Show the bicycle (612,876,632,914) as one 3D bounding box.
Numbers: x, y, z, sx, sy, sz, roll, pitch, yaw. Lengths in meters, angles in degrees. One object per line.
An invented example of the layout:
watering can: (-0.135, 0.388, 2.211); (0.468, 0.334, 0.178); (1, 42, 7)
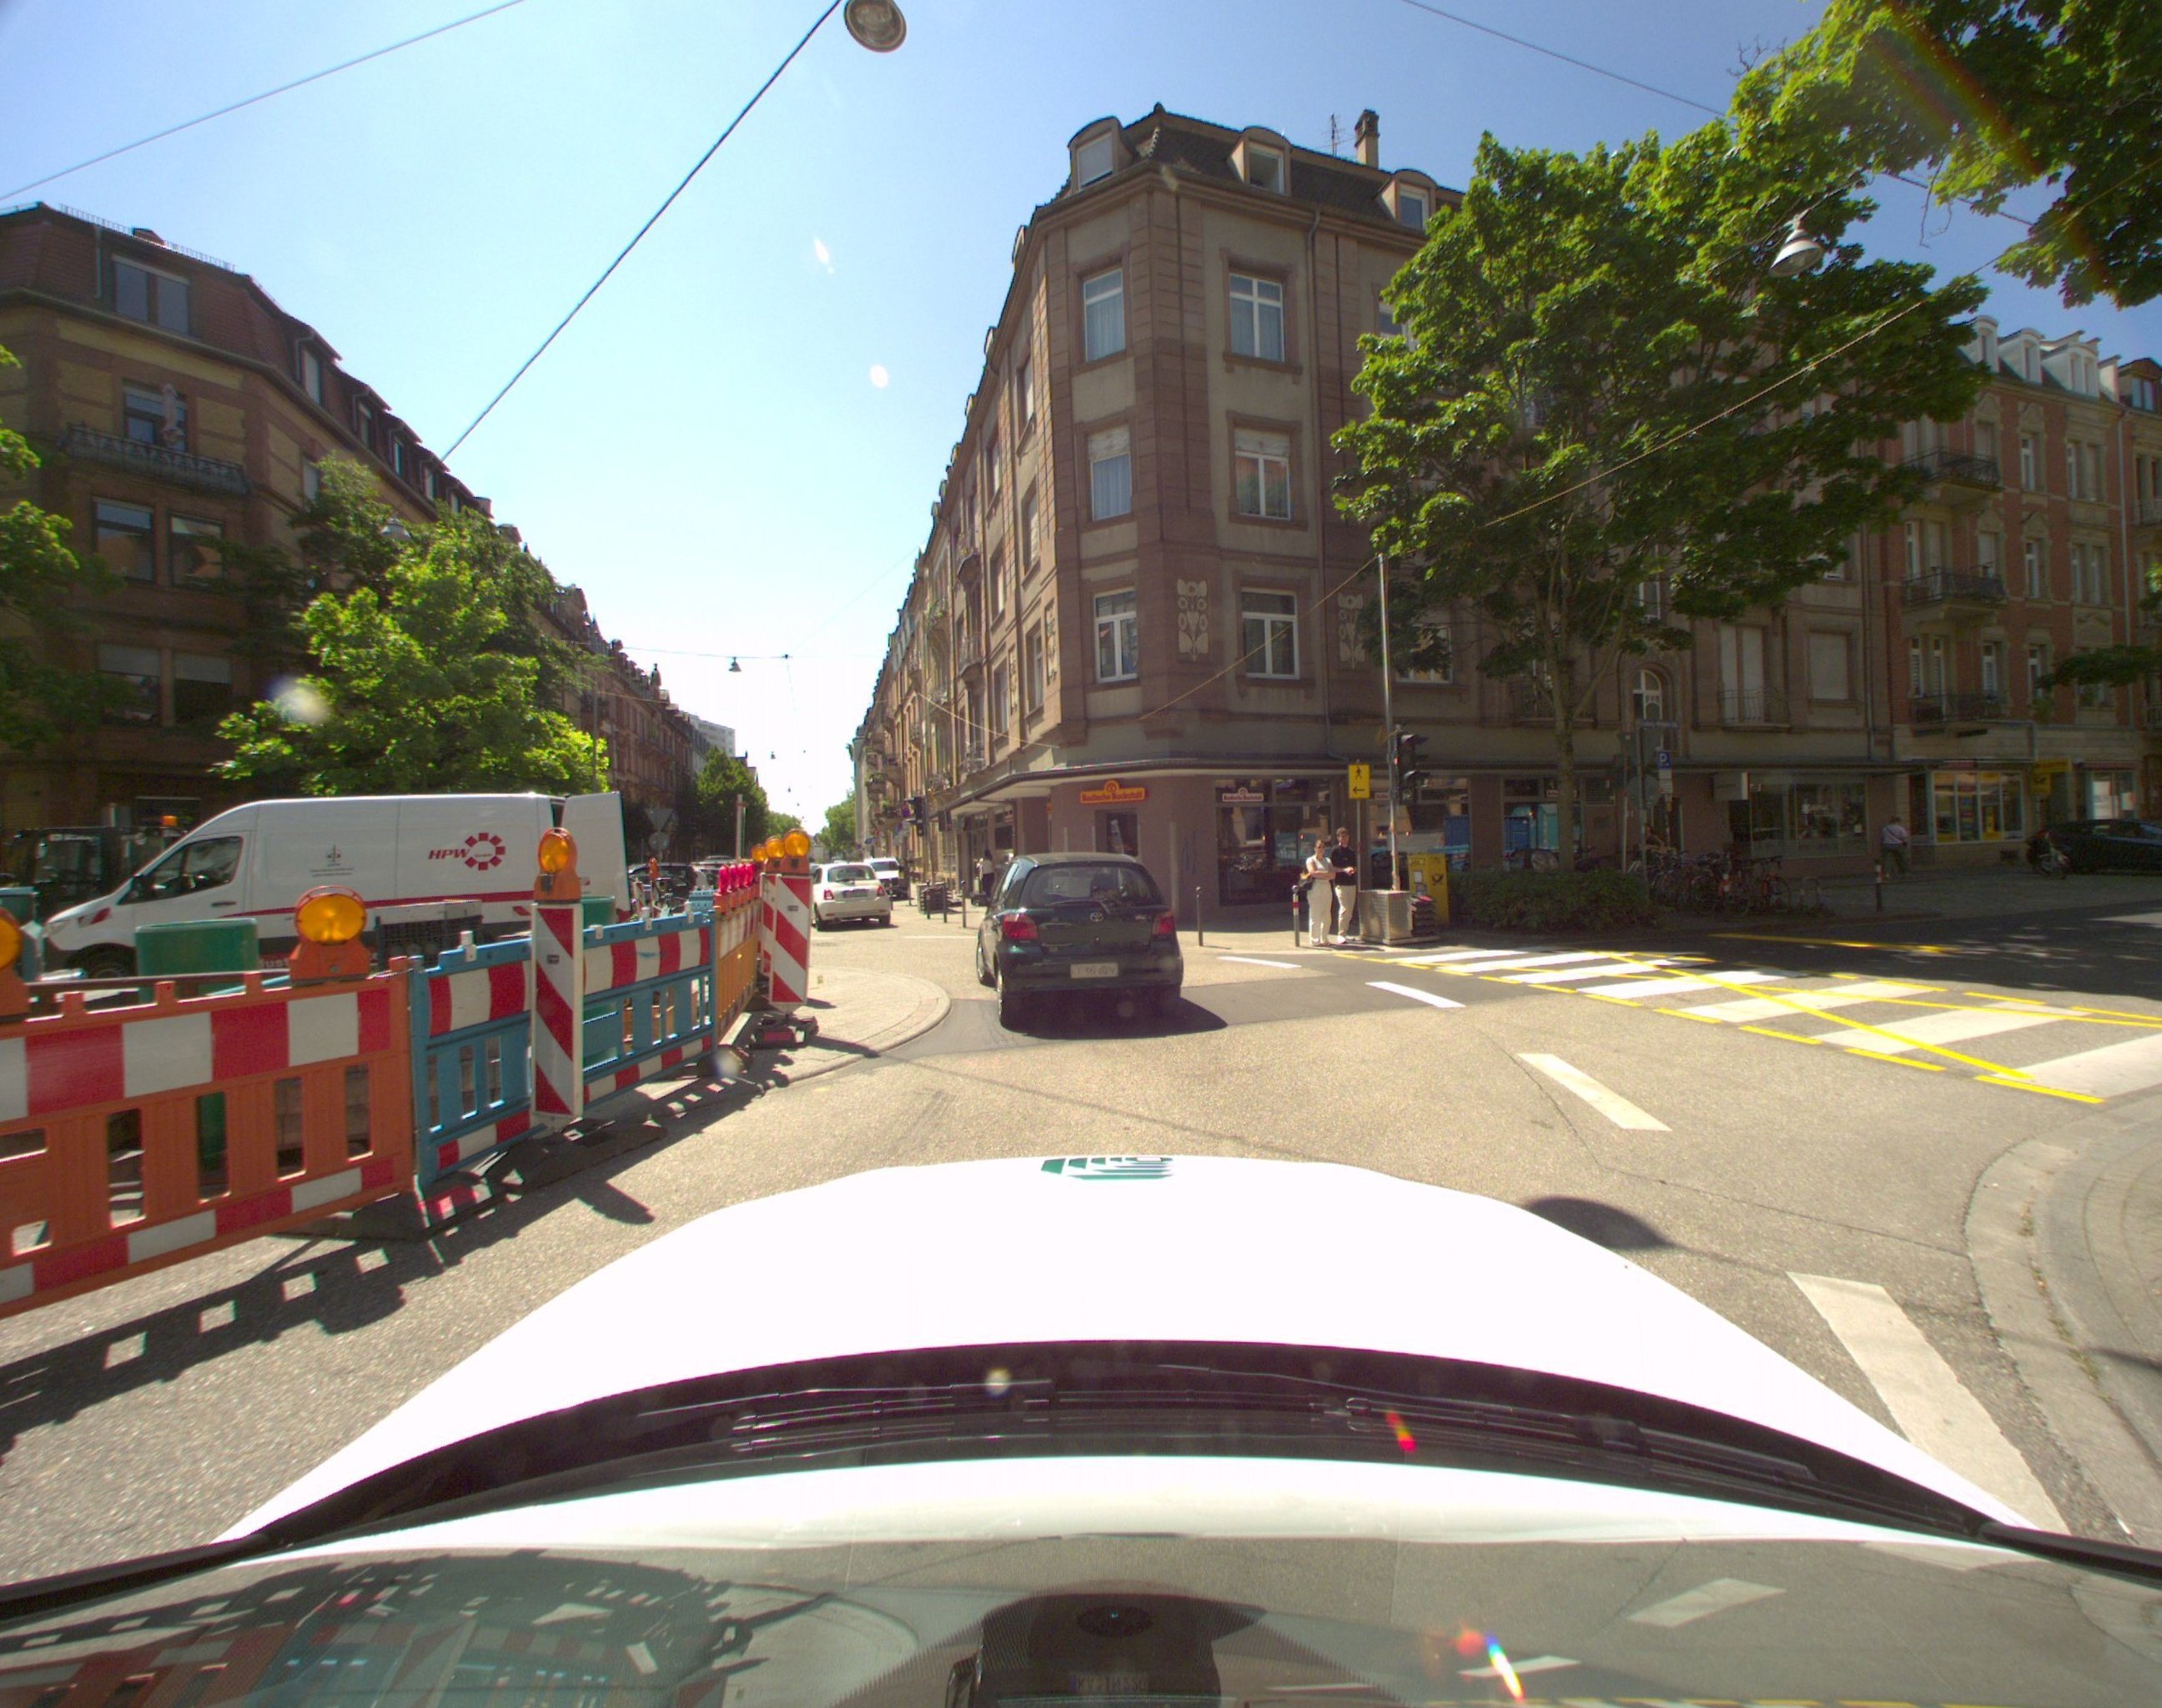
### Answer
bicycle: (-13.578, 1.189, 24.102); (0.493, 1.081, 1.880); (0, -1, -30)

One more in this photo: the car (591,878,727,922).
car: (-15.531, 1.625, 30.093); (1.946, 1.412, 4.025); (-1, -1, 41)

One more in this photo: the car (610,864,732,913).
car: (-16.410, 1.321, 32.705); (1.747, 1.804, 4.024); (-1, -1, 44)

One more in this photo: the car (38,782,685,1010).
car: (-9.669, 0.489, 11.876); (6.635, 2.751, 2.367); (-1, -1, -16)

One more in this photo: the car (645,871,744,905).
car: (-18.785, 1.629, 39.689); (1.842, 1.470, 3.948); (-2, 0, 32)

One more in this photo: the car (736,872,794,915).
car: (-12.367, 1.502, 32.085); (1.759, 1.444, 3.977); (-3, 0, -17)

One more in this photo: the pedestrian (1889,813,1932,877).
pedestrian: (21.502, -0.241, 21.117); (0.491, 1.614, 0.557); (-2, 0, -12)

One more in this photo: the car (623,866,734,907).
car: (-17.331, 1.358, 35.150); (4.020, 1.658, 1.739); (0, -1, -40)

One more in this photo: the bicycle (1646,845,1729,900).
bicycle: (12.166, 0.353, 16.319); (1.767, 0.996, 0.467); (-2, 2, -21)

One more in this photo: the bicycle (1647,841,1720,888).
bicycle: (13.823, 0.221, 18.671); (1.730, 0.996, 0.501); (-2, 2, -21)

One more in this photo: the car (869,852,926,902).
car: (-7.413, 0.877, 32.568); (1.876, 1.713, 4.478); (-4, 0, -16)

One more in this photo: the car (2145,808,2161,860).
car: (31.602, -0.588, 21.547); (1.793, 1.438, 3.828); (-3, 1, -19)

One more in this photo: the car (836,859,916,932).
car: (-4.940, 0.906, 19.374); (1.527, 1.521, 3.243); (-2, 0, -19)

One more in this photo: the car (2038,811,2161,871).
car: (26.816, -0.340, 20.062); (1.793, 1.438, 3.828); (-3, 1, -19)

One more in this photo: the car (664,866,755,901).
car: (-19.525, 1.540, 42.892); (1.841, 1.619, 3.948); (-2, 0, 33)

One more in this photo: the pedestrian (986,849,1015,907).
pedestrian: (-2.323, 0.673, 23.549); (0.642, 1.623, 0.799); (-2, 0, -17)

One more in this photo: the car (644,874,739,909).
car: (-17.825, 1.676, 37.378); (3.650, 1.458, 1.605); (0, -1, -40)

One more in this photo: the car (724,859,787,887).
car: (-28.109, 1.606, 70.377); (4.599, 2.187, 1.975); (-2, 0, -44)

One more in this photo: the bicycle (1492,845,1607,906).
bicycle: (9.437, 0.428, 16.432); (1.974, 1.132, 0.516); (-2, 0, 0)

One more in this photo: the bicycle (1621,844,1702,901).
bicycle: (12.000, 0.365, 16.835); (1.767, 1.080, 0.467); (-2, 2, -21)

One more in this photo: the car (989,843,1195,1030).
car: (-0.076, 0.689, 8.384); (1.613, 1.485, 3.231); (-1, 0, -8)

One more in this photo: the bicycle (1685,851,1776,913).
bicycle: (11.750, 0.484, 14.718); (1.767, 0.996, 0.467); (-2, 2, -21)

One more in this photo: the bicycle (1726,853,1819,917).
bicycle: (12.097, 0.516, 14.237); (1.767, 0.996, 0.467); (-2, 2, -21)

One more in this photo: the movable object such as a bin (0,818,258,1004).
movable object such as a bin: (-16.216, 0.853, 12.502); (4.560, 2.659, 1.941); (-2, 0, -22)

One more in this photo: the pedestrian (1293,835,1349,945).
pedestrian: (3.801, 0.553, 12.890); (0.705, 1.645, 0.419); (-5, 4, -25)

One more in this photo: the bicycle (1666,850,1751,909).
bicycle: (11.817, 0.465, 15.332); (1.690, 1.005, 0.467); (-2, 2, -21)

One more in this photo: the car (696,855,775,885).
car: (-25.033, 1.129, 59.131); (2.028, 1.994, 4.818); (-2, 0, 44)

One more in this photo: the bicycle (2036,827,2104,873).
bicycle: (24.036, -0.113, 19.829); (0.537, 1.046, 1.950); (-2, 0, 36)

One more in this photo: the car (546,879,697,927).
car: (-15.378, 1.573, 27.375); (1.975, 1.375, 4.024); (-1, -1, 44)

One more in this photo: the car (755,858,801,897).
car: (-15.126, 1.142, 40.844); (1.759, 1.645, 4.352); (-5, 1, -17)

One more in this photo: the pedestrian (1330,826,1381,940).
pedestrian: (4.430, 0.452, 13.163); (0.578, 1.768, 0.468); (-5, 4, -25)

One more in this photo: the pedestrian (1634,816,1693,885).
pedestrian: (14.289, -0.095, 19.999); (0.858, 1.634, 0.783); (-2, 0, -18)
